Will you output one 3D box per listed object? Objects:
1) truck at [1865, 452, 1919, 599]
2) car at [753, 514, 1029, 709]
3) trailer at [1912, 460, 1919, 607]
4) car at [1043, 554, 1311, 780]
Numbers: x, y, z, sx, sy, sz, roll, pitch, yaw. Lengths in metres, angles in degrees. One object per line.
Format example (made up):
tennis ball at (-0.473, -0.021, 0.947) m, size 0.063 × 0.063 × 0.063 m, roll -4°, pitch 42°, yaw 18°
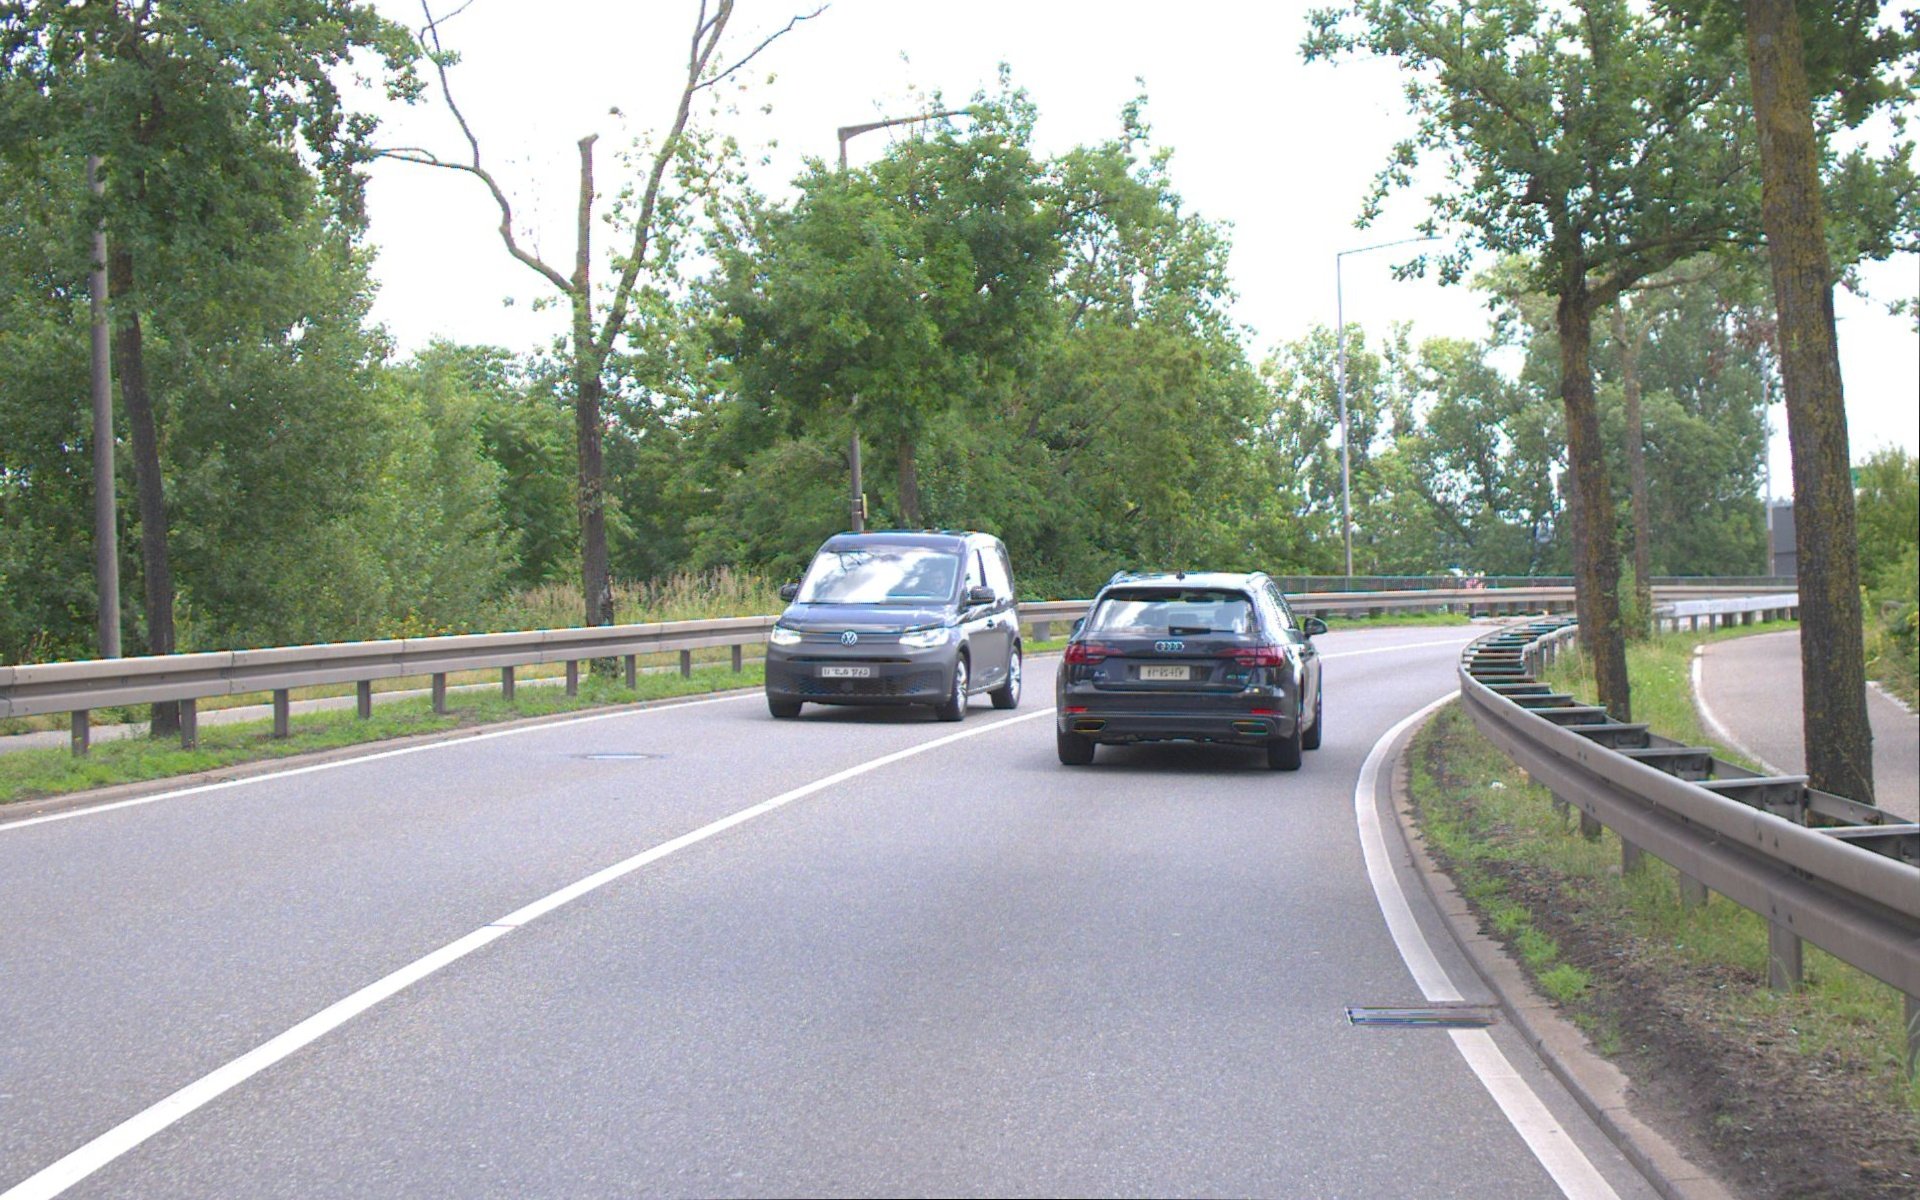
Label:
truck at (28.468, -2.121, 98.630) m, size 2.767 × 4.120 × 5.640 m, roll 1°, pitch 1°, yaw 39°
car at (-0.580, 0.075, 32.950) m, size 1.853 × 1.703 × 4.310 m, roll 1°, pitch 1°, yaw 9°
trailer at (33.214, -1.935, 104.498) m, size 2.712 × 4.265 × 14.199 m, roll 1°, pitch 1°, yaw 39°
car at (1.638, 0.441, 26.224) m, size 1.828 × 1.486 × 4.206 m, roll 2°, pitch 1°, yaw 3°
